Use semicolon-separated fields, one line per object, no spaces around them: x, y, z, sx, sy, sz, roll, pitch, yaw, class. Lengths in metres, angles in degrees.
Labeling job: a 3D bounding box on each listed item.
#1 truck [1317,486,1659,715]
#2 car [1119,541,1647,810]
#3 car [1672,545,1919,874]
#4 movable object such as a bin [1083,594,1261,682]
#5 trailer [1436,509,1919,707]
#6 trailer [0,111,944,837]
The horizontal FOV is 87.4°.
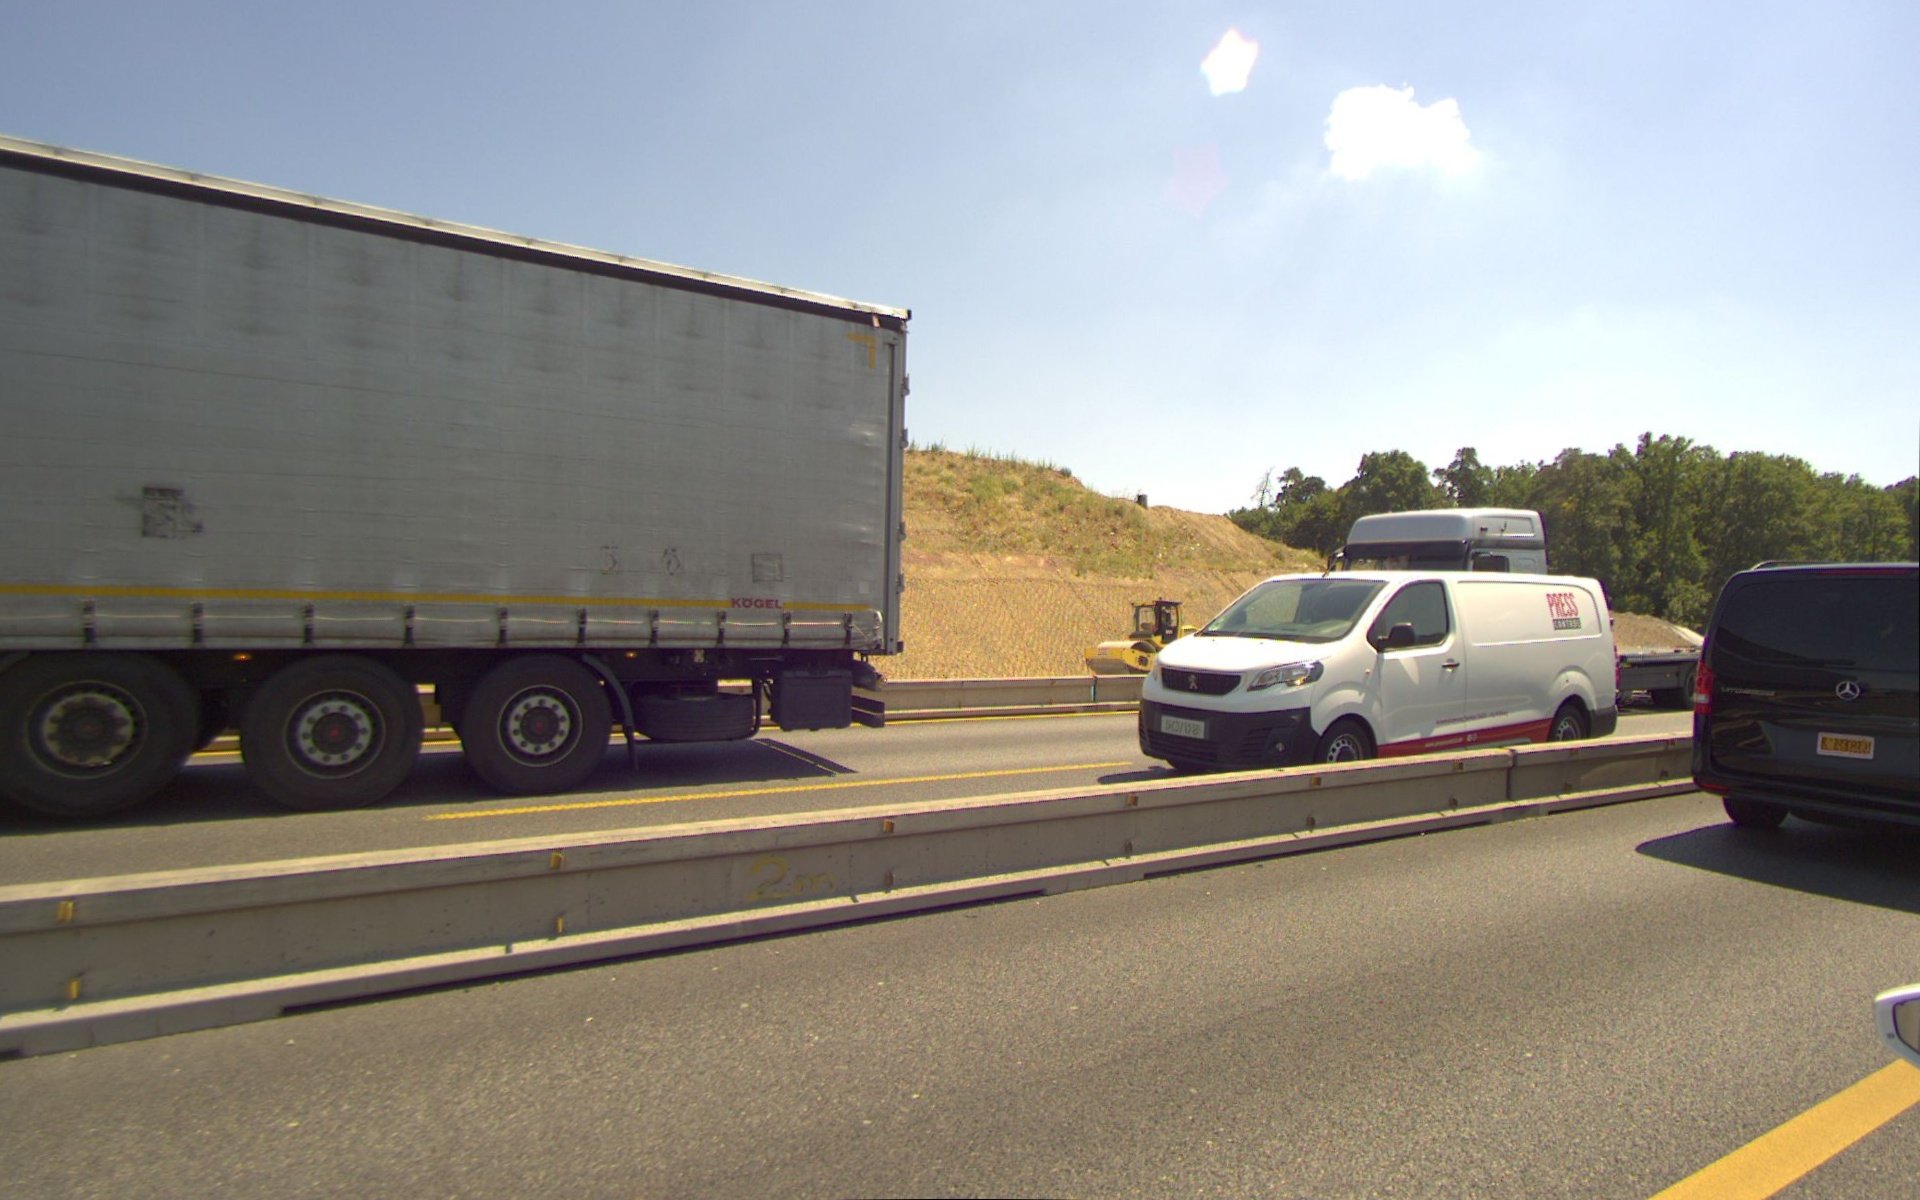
8.370;0.089;15.853;5.003;3.099;2.387;3;0;-30;truck
4.120;0.640;9.425;5.204;1.952;1.816;3;0;-31;car
7.659;0.698;7.393;5.415;1.876;1.865;2;0;-30;car
8.239;1.457;38.708;7.078;3.150;2.159;1;-2;-30;movable object such as a bin
15.249;0.320;19.813;15.088;2.971;2.336;2;0;-30;trailer
-6.695;-0.742;6.603;13.552;4.130;2.776;1;0;-31;trailer
